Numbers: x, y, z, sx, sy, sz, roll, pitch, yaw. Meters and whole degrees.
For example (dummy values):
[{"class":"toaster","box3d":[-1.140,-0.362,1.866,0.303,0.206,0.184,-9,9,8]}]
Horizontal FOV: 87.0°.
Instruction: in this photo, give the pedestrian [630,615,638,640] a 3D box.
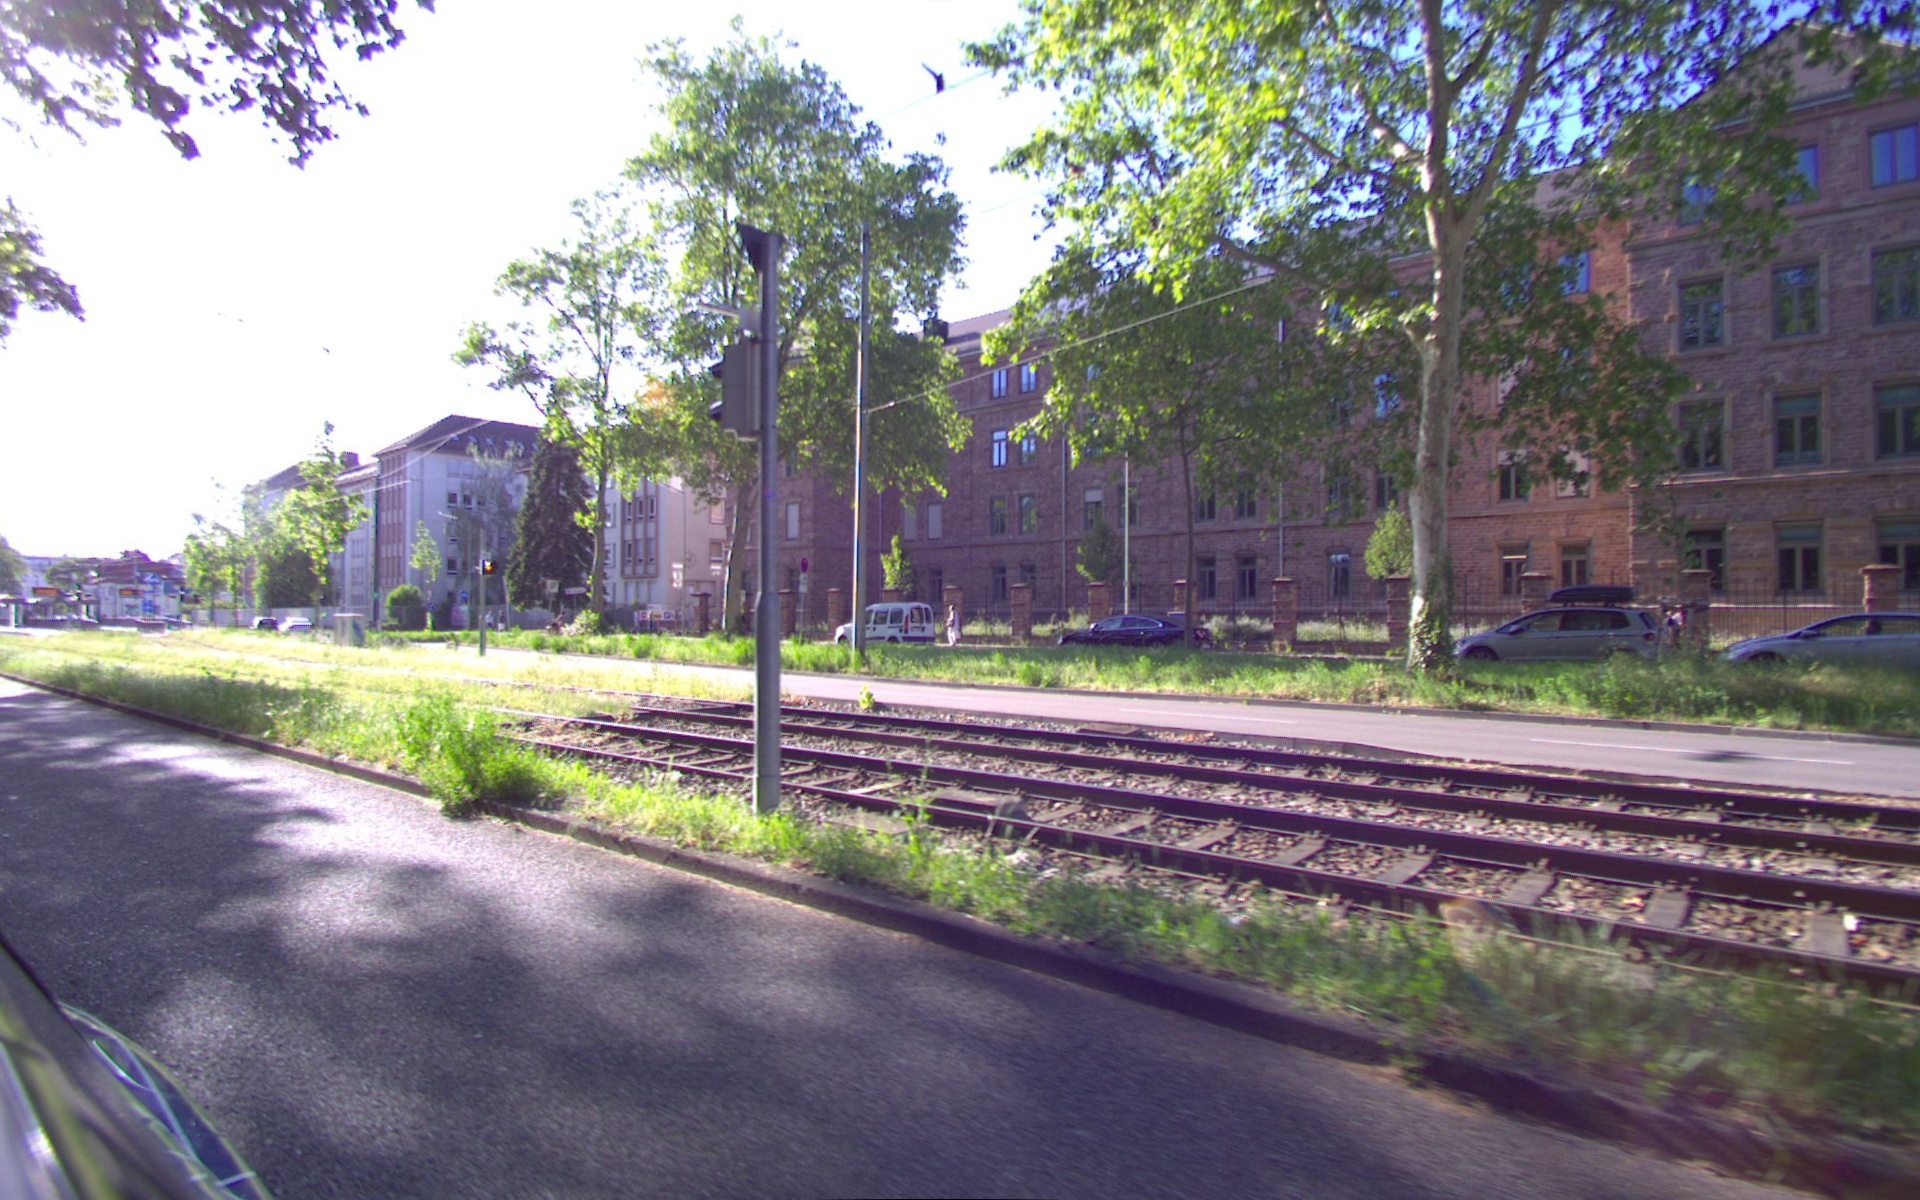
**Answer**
[{"class":"pedestrian","box3d":[-22.806,1.938,70.802,0.371,1.708,0.449,1,-2,-43]}]

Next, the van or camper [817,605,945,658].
[{"class":"van or camper","box3d":[-2.865,1.104,36.322,4.427,1.801,1.974,-1,-2,39]}]

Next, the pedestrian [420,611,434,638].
[{"class":"pedestrian","box3d":[-40.633,1.867,77.208,0.859,2.029,0.656,-1,-2,40]}]

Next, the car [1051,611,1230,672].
[{"class":"car","box3d":[5.176,1.183,29.509,4.824,1.662,1.973,-2,-2,41]}]

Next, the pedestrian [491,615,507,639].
[{"class":"pedestrian","box3d":[-32.924,1.895,72.291,0.819,1.708,0.677,-1,-1,22]}]

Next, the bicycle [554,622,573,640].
[{"class":"bicycle","box3d":[-23.560,1.826,60.168,1.172,1.076,0.458,-1,-2,31]}]

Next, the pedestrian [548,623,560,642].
[{"class":"pedestrian","box3d":[-24.351,1.932,60.719,0.586,1.108,0.439,-1,-2,36]}]

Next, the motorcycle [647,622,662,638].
[{"class":"motorcycle","box3d":[-18.483,1.826,61.294,1.043,0.953,0.331,-1,-1,37]}]

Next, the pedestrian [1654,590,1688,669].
[{"class":"pedestrian","box3d":[18.565,0.773,26.411,0.626,2.029,0.707,-1,-2,41]}]

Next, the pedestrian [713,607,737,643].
[{"class":"pedestrian","box3d":[-12.629,1.340,54.406,0.941,1.914,0.891,-2,-2,42]}]

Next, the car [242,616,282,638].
[{"class":"car","box3d":[-57.410,2.203,83.233,4.150,1.720,1.971,-1,-1,44]}]

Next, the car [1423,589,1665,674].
[{"class":"car","box3d":[13.045,0.697,22.817,4.422,1.732,1.748,-2,-2,45]}]

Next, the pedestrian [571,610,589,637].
[{"class":"pedestrian","box3d":[-24.874,1.532,66.295,0.875,1.708,0.679,-1,-1,12]}]

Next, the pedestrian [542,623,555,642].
[{"class":"pedestrian","box3d":[-24.818,1.954,61.070,0.478,1.108,0.580,-1,-2,39]}]

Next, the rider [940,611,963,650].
[{"class":"rider","box3d":[-0.360,1.287,43.142,0.686,1.657,0.721,-1,-2,41]}]

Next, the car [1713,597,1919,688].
[{"class":"car","box3d":[17.242,0.785,19.274,4.422,1.627,1.971,-2,-2,45]}]

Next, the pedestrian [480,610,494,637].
[{"class":"pedestrian","box3d":[-33.278,1.666,71.224,0.572,1.851,0.686,-1,-2,40]}]

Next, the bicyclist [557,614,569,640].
[{"class":"bicyclist","box3d":[-23.626,1.604,60.219,0.501,1.510,0.450,-1,-2,31]}]

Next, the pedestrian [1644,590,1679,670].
[{"class":"pedestrian","box3d":[17.961,0.767,25.906,0.626,2.029,0.707,-1,-2,41]}]

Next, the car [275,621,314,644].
[{"class":"car","box3d":[-49.713,2.411,75.564,1.744,1.635,4.479,1,-1,-43]}]
